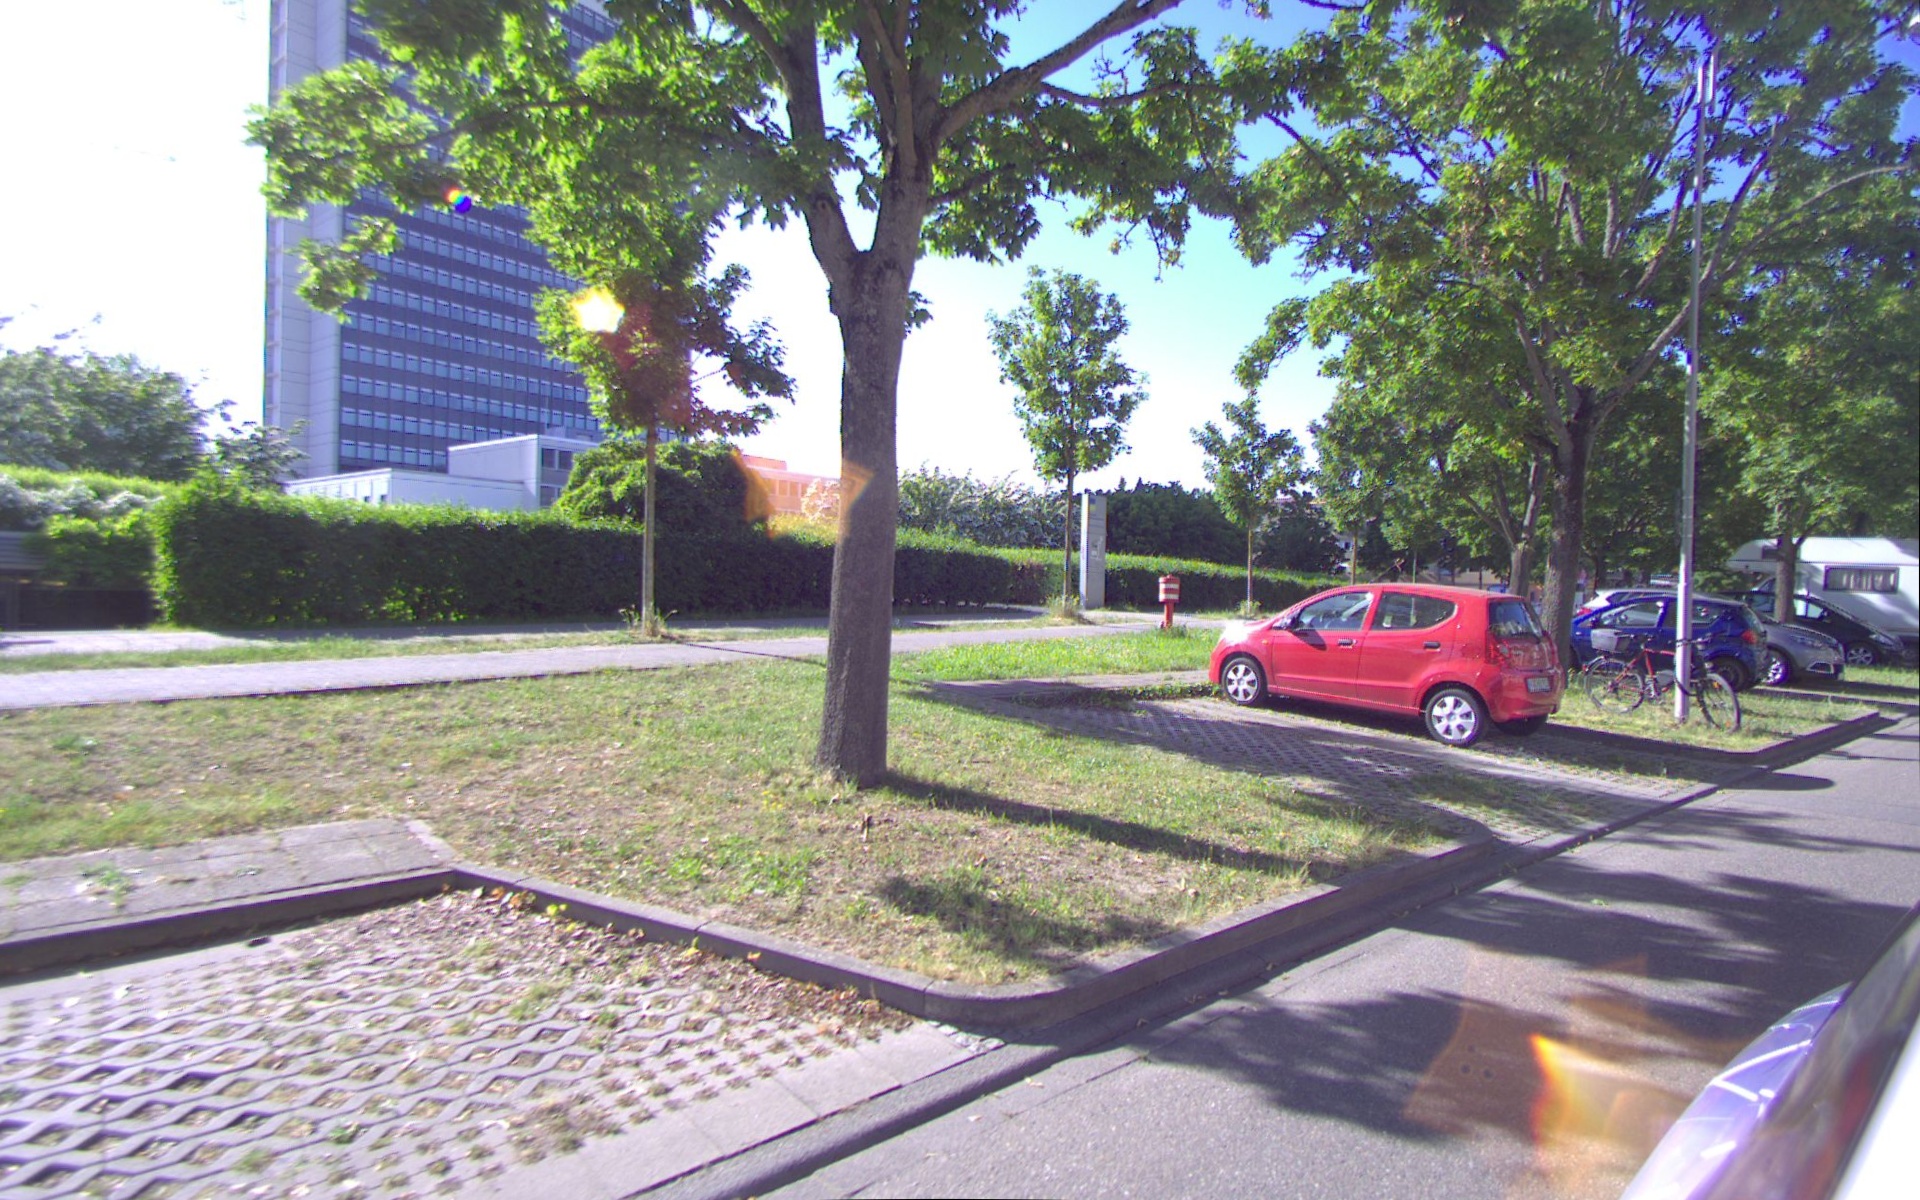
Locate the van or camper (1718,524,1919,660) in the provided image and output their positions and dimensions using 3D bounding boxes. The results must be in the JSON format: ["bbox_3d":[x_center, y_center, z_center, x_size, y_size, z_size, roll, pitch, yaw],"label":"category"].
[{"bbox_3d":[22.455,-0.198,24.507,2.623,3.019,5.997,1,4,-40],"label":"van or camper"}]

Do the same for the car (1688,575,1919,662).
[{"bbox_3d":[19.592,0.363,23.346,1.826,1.564,4.159,1,4,-41],"label":"car"}]

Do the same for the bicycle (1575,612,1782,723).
[{"bbox_3d":[7.791,0.692,11.074,0.519,1.003,1.760,1,3,-27],"label":"bicycle"}]

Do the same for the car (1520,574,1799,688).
[{"bbox_3d":[11.666,0.430,17.015,1.827,1.497,3.469,0,4,-42],"label":"car"}]

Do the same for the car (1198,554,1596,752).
[{"bbox_3d":[4.449,0.409,10.706,1.598,1.562,3.445,1,4,-39],"label":"car"}]

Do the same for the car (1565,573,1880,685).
[{"bbox_3d":[13.782,0.435,18.534,1.825,1.564,4.208,1,4,-38],"label":"car"}]
